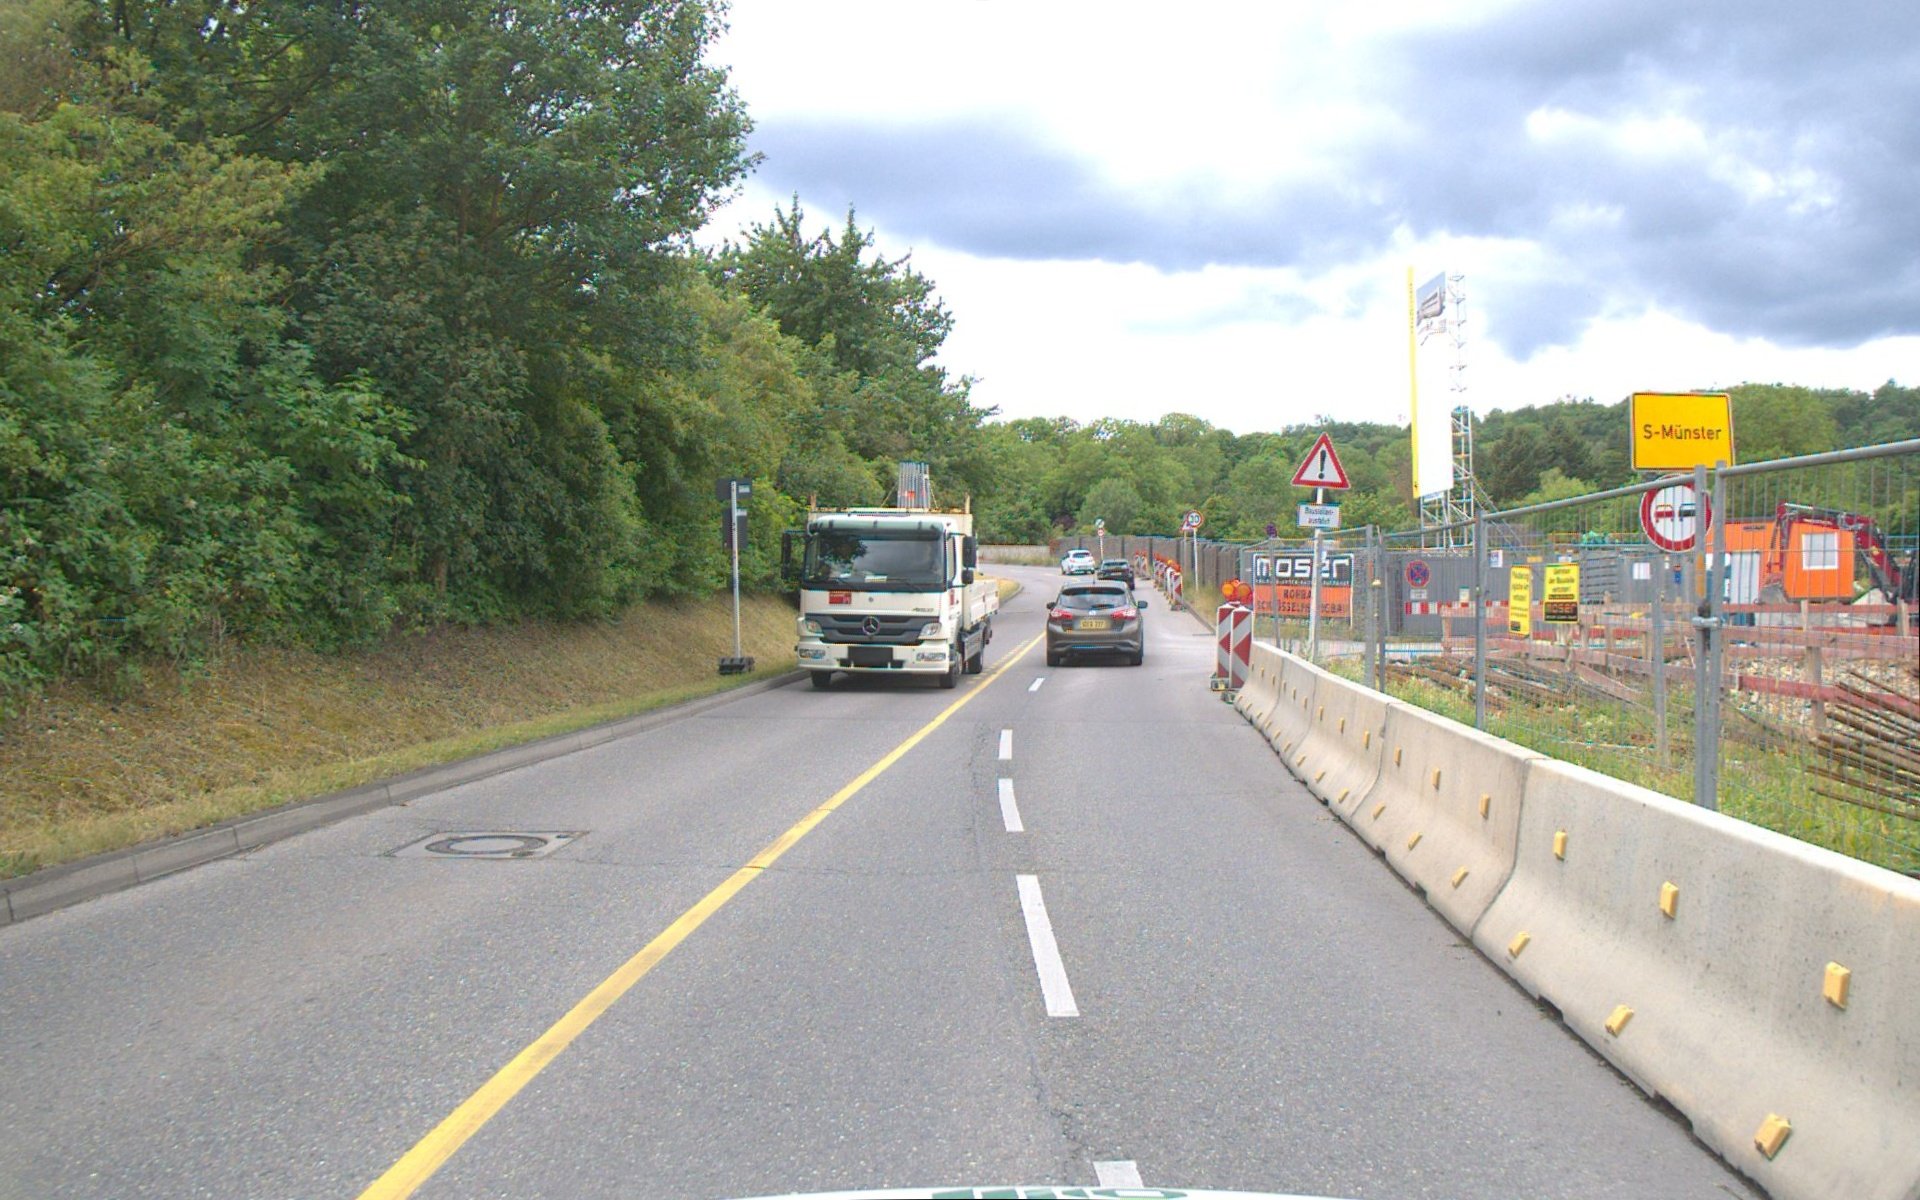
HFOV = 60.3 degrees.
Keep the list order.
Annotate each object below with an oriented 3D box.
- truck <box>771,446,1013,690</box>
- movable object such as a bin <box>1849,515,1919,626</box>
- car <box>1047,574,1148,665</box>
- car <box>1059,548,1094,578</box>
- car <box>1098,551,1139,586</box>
[{"bbox_3d":[-0.829,-0.562,27.312,2.760,3.394,8.387,0,1,6],"label":"truck"},{"bbox_3d":[27.807,-0.868,48.218,2.732,3.131,1.842,-2,-1,5],"label":"movable object such as a bin"},{"bbox_3d":[2.646,0.311,31.299,1.759,1.579,4.003,1,1,6],"label":"car"},{"bbox_3d":[7.303,-2.324,103.614,1.677,1.704,3.997,-2,0,-3],"label":"car"},{"bbox_3d":[7.520,-1.457,78.226,1.781,1.579,3.791,0,0,7],"label":"car"}]
